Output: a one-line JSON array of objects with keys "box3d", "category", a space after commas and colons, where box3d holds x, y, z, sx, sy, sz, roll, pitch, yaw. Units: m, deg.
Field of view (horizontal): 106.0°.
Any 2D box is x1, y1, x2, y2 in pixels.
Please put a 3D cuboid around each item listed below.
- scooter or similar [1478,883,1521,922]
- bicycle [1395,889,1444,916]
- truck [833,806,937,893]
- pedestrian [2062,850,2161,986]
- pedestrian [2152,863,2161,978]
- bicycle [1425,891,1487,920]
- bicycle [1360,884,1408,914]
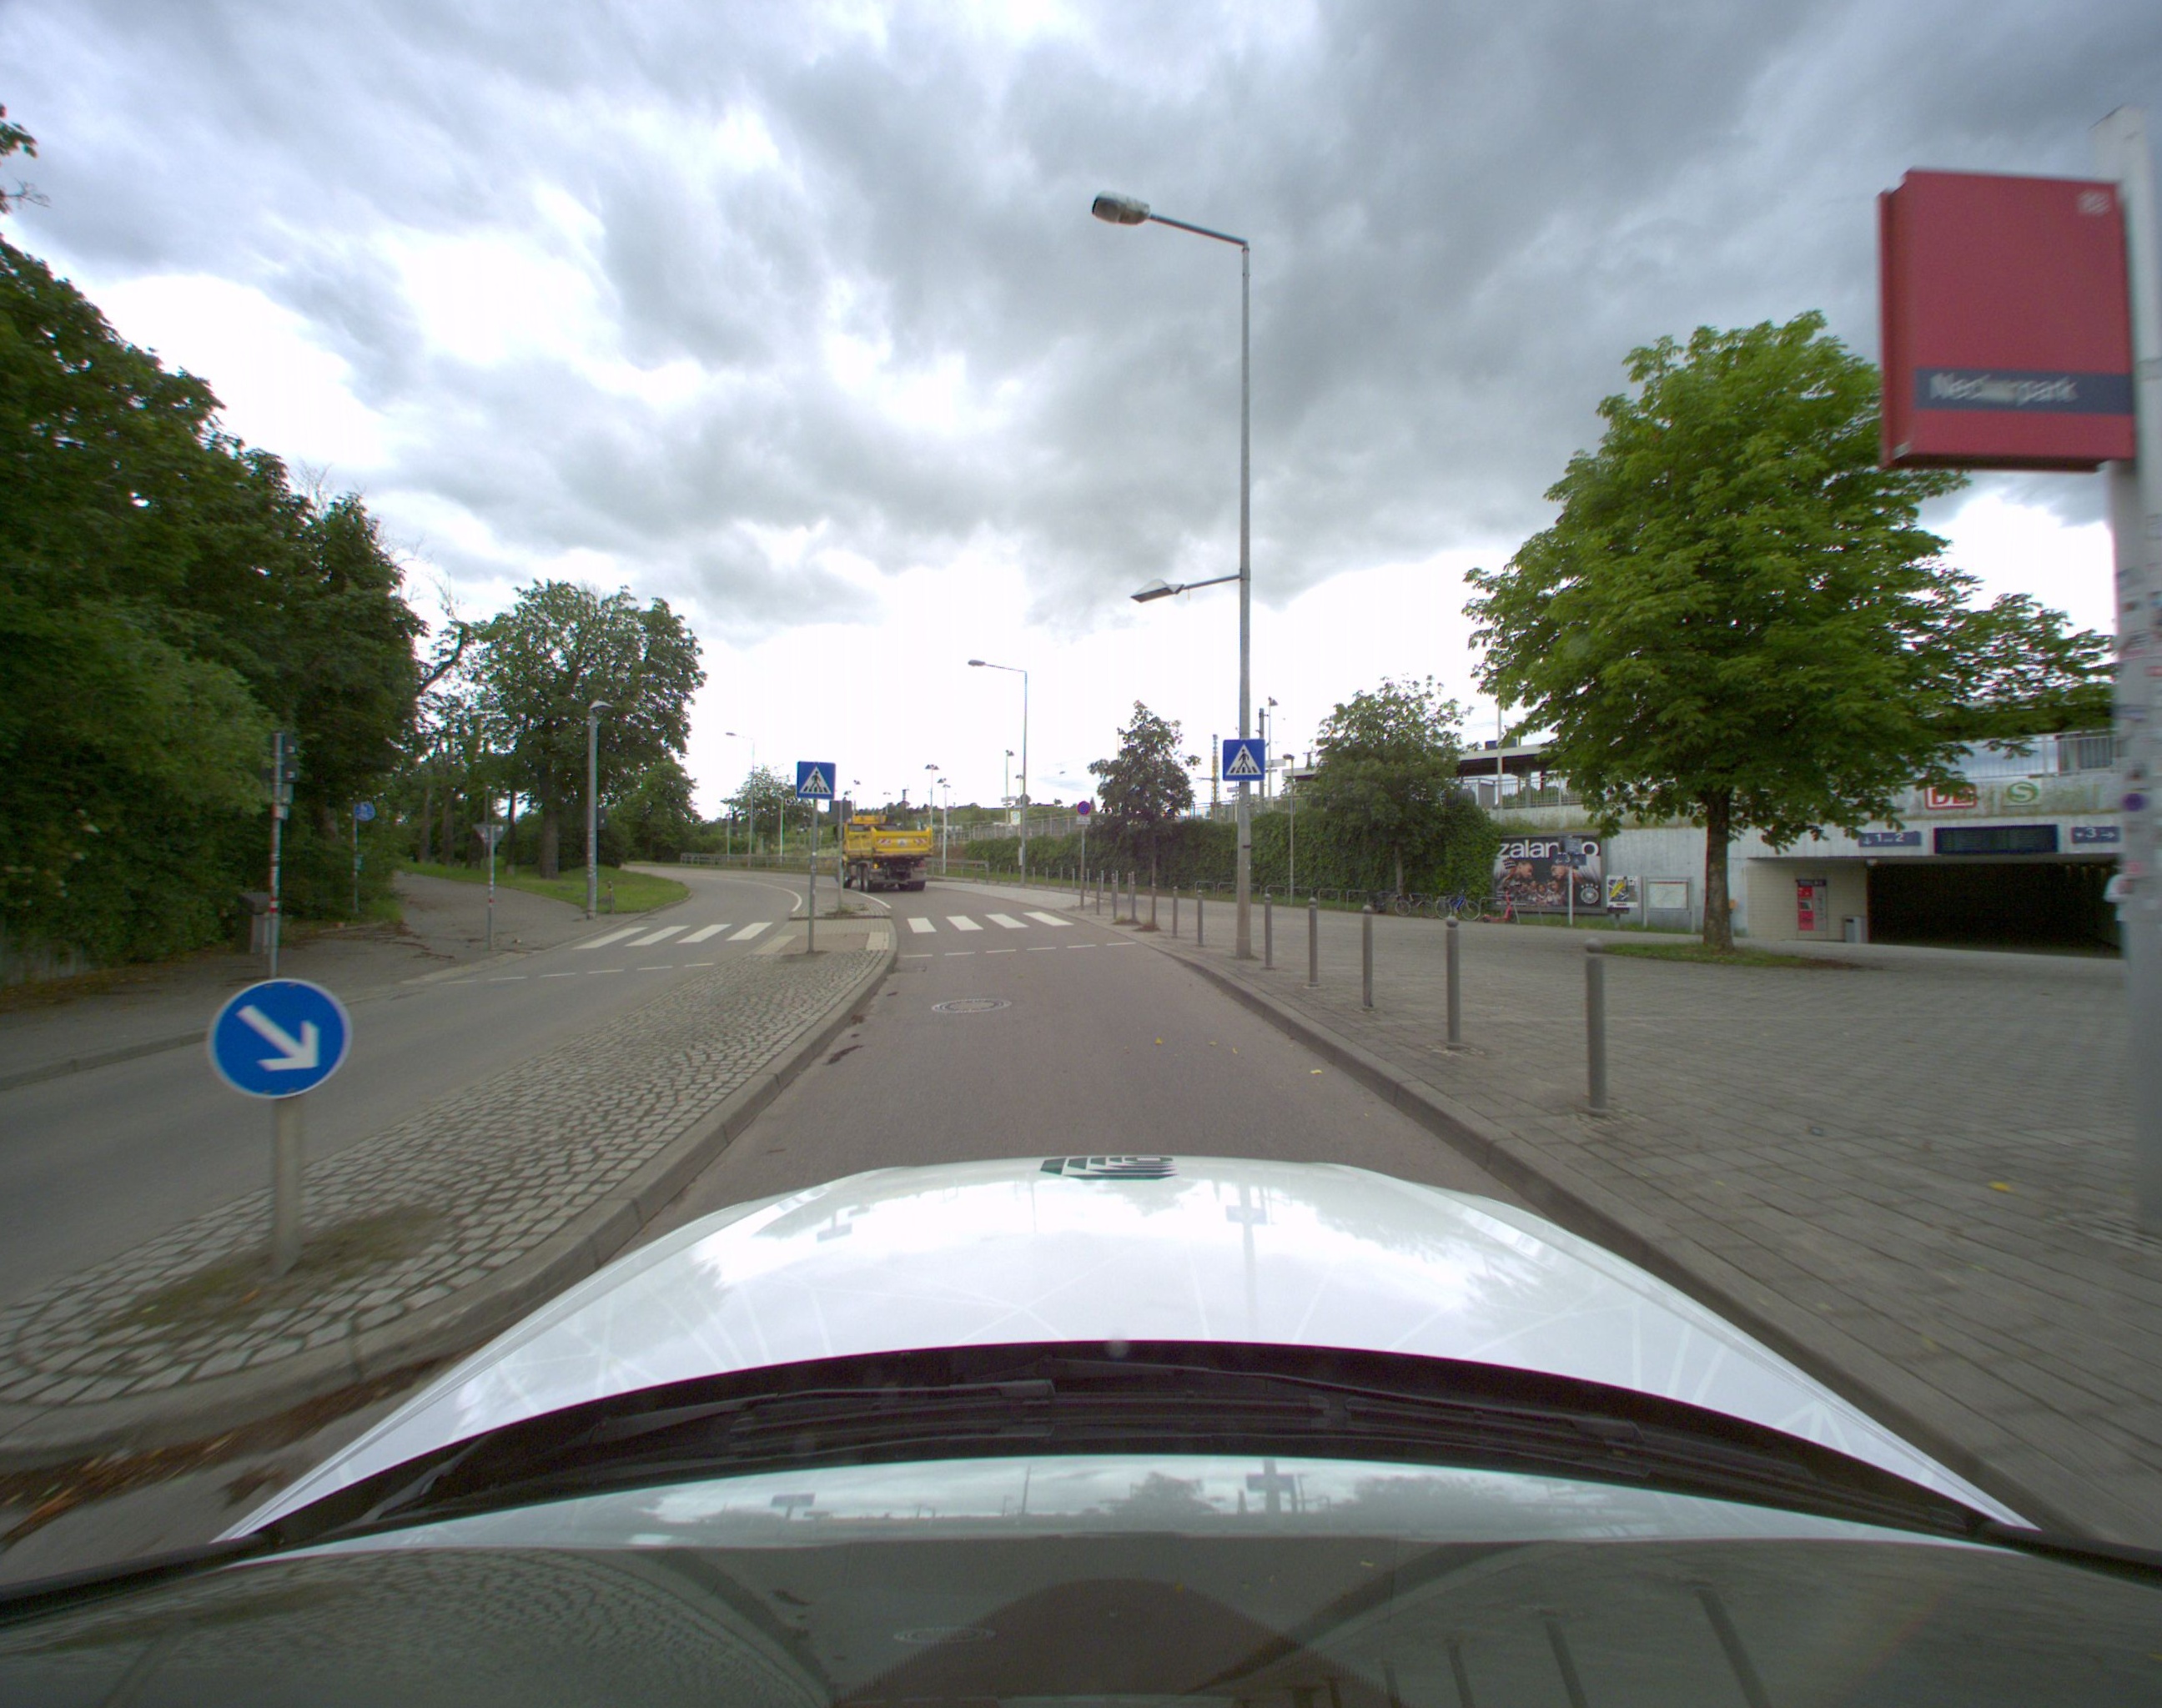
[{"box3d": [13.724, 1.583, 26.716, 1.186, 1.206, 0.467, 2, -2, -6], "category": "scooter or similar"}, {"box3d": [12.008, 1.713, 28.920, 1.573, 0.854, 0.462, 3, -1, -6], "category": "bicycle"}, {"box3d": [-9.078, -0.244, 36.953, 2.780, 3.483, 8.057, 0, 1, -27], "category": "truck"}, {"box3d": [13.647, 0.819, 10.635, 0.806, 1.703, 0.753, -2, -3, 30], "category": "pedestrian"}, {"box3d": [15.045, 0.896, 10.755, 0.792, 1.583, 0.807, -2, -3, 30], "category": "pedestrian"}, {"box3d": [12.854, 1.758, 27.926, 1.965, 0.865, 0.509, 4, -1, -9], "category": "bicycle"}, {"box3d": [10.986, 1.620, 29.554, 1.479, 0.989, 0.696, 2, -1, 8], "category": "bicycle"}]
